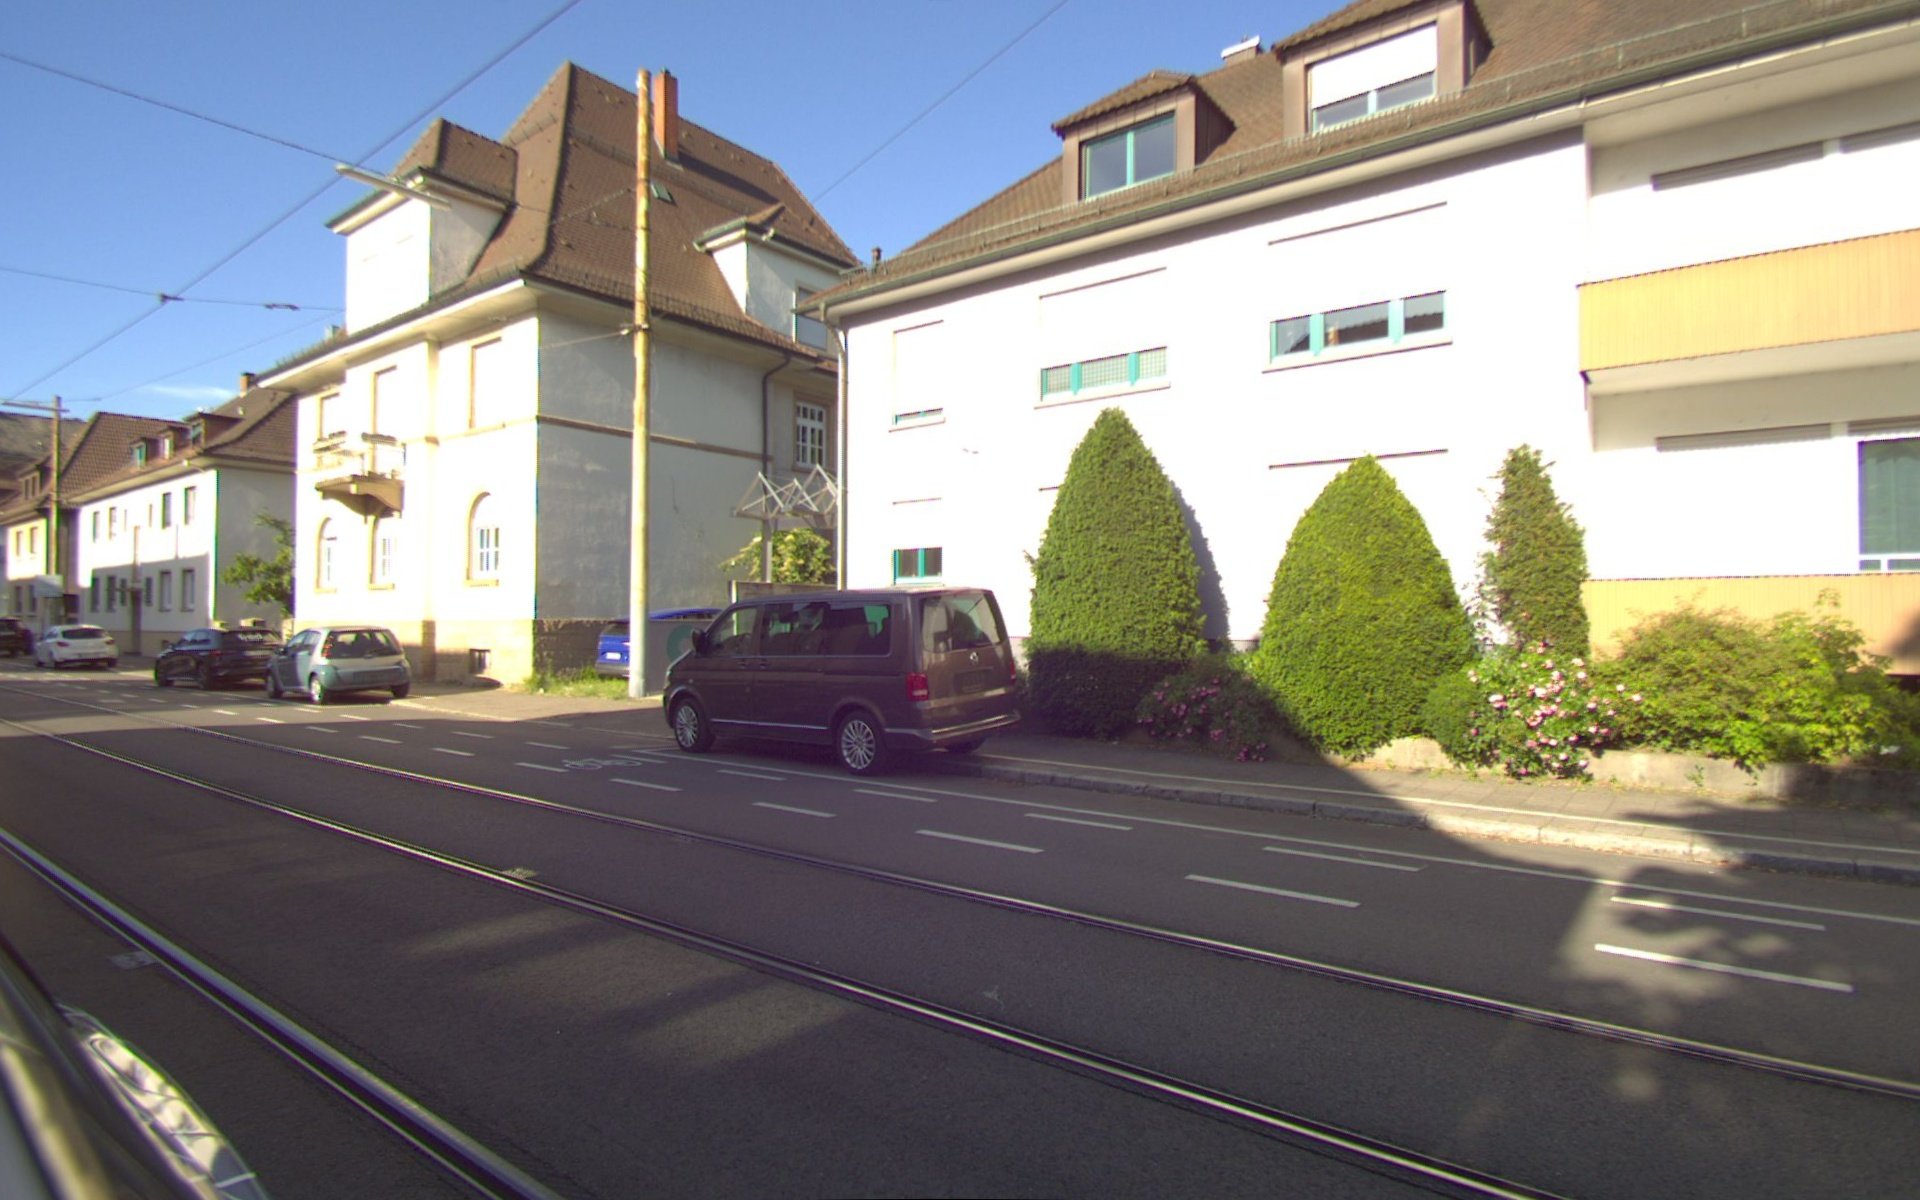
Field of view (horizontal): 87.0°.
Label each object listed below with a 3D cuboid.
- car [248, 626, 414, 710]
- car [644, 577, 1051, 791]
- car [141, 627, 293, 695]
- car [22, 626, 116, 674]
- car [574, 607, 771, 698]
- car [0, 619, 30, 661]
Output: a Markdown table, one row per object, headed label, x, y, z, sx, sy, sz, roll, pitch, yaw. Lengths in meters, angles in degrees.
| label | x | y | z | sx | sy | sz | roll | pitch | yaw |
| --- | --- | --- | --- | --- | --- | --- | --- | --- | --- |
| car | -12.808 | 1.300 | 20.540 | 3.830 | 1.488 | 1.660 | -1 | 0 | 38 |
| car | -1.499 | 0.823 | 11.919 | 4.945 | 2.029 | 1.886 | -1 | 0 | 40 |
| car | -17.915 | 1.408 | 24.350 | 4.240 | 1.488 | 1.649 | -1 | -2 | 34 |
| car | -29.647 | 1.633 | 33.649 | 4.010 | 1.468 | 1.615 | -1 | -3 | 38 |
| car | -6.200 | 1.106 | 22.185 | 1.751 | 1.797 | 3.890 | -1 | -2 | 36 |
| car | -41.268 | 1.658 | 43.023 | 4.548 | 1.718 | 1.745 | -1 | -3 | 37 |
